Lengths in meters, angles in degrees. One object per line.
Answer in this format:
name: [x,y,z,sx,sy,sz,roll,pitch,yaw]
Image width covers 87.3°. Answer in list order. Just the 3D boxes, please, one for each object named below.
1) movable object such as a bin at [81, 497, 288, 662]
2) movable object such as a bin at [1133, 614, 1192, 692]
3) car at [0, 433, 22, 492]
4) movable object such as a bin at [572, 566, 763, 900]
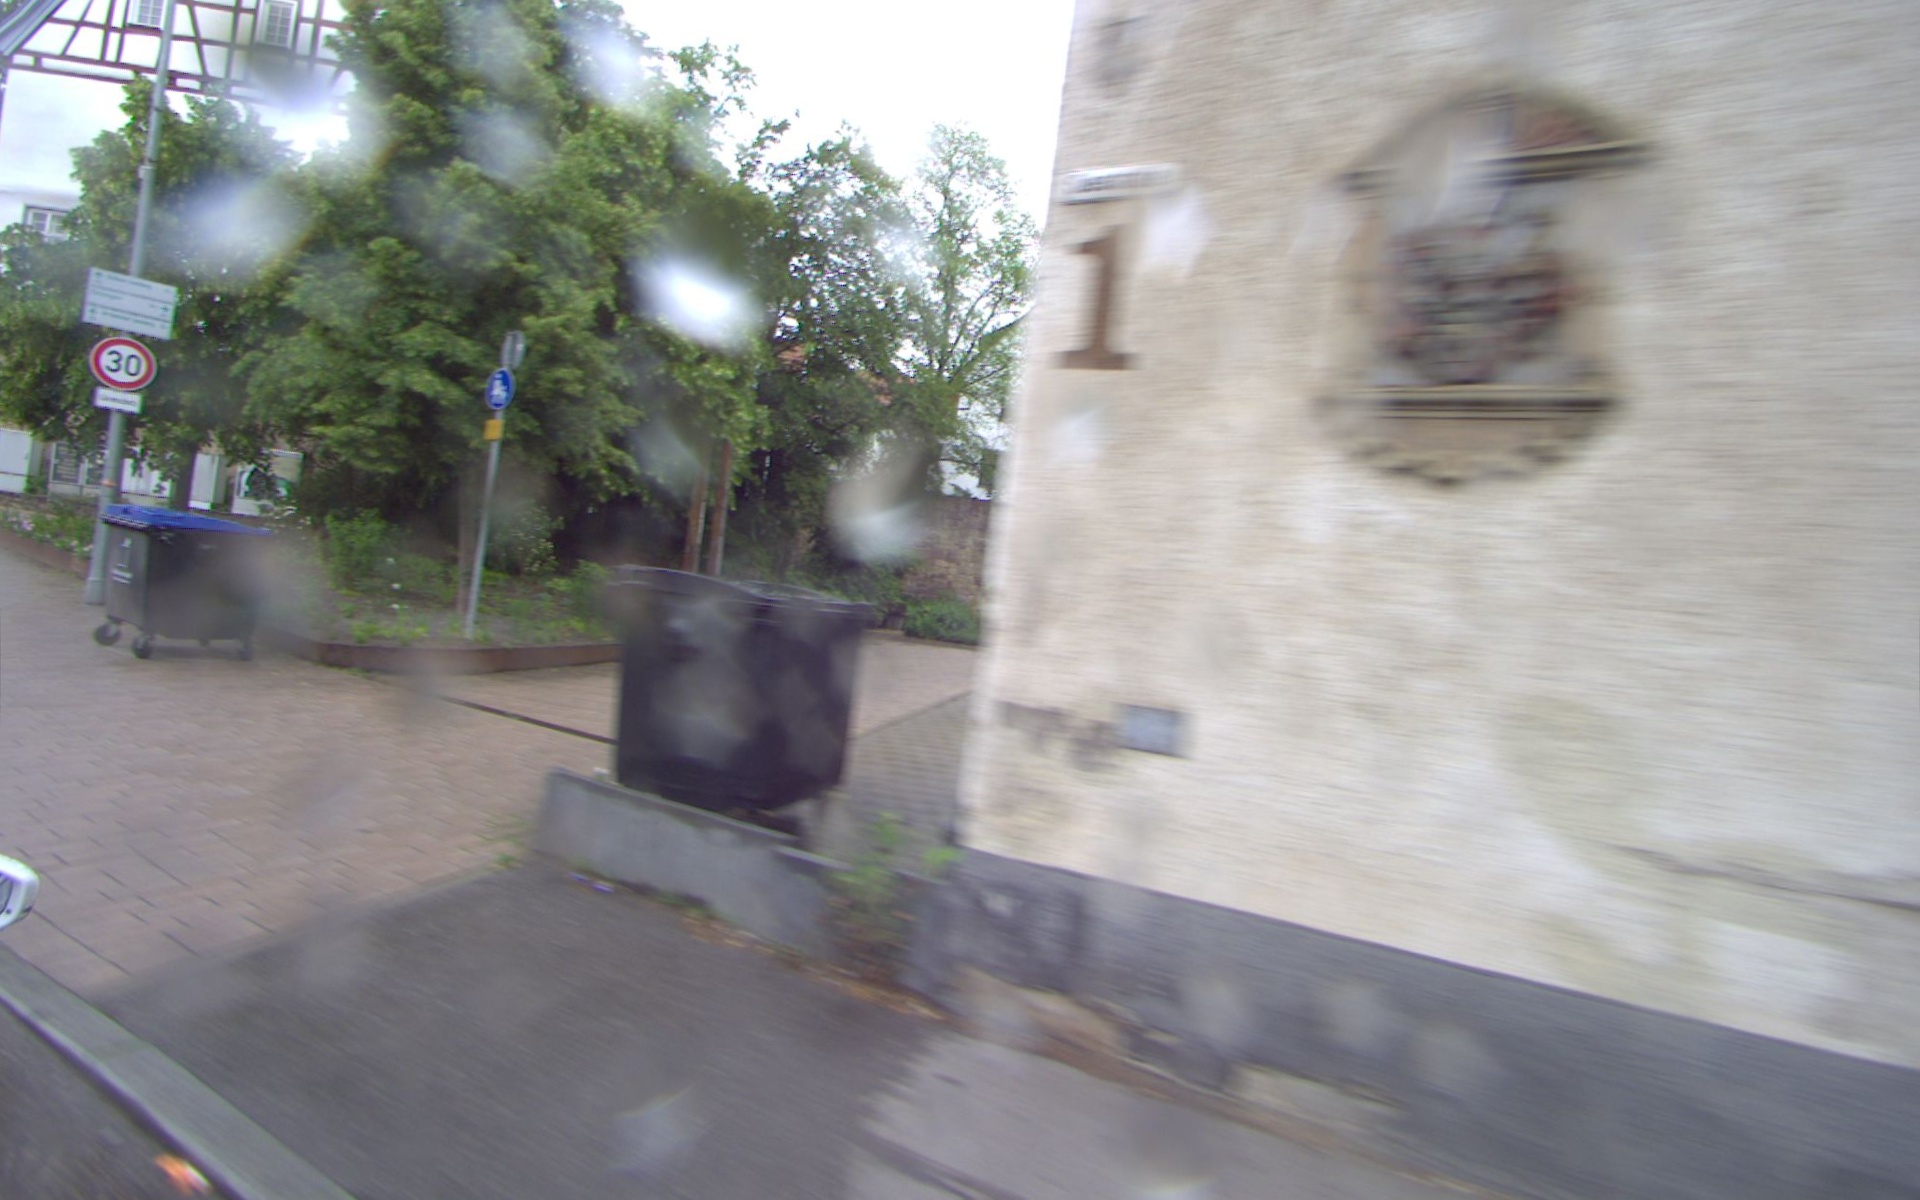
movable object such as a bin: [-7.284,-0.187,9.466,1.168,1.328,1.155,7,-1,37]
movable object such as a bin: [2.572,0.657,12.727,0.583,0.934,0.657,3,0,22]
car: [-28.409,-4.150,27.268,1.857,1.614,4.326,8,-2,-2]
movable object such as a bin: [-1.377,0.608,4.796,0.632,1.459,0.413,5,-1,7]
